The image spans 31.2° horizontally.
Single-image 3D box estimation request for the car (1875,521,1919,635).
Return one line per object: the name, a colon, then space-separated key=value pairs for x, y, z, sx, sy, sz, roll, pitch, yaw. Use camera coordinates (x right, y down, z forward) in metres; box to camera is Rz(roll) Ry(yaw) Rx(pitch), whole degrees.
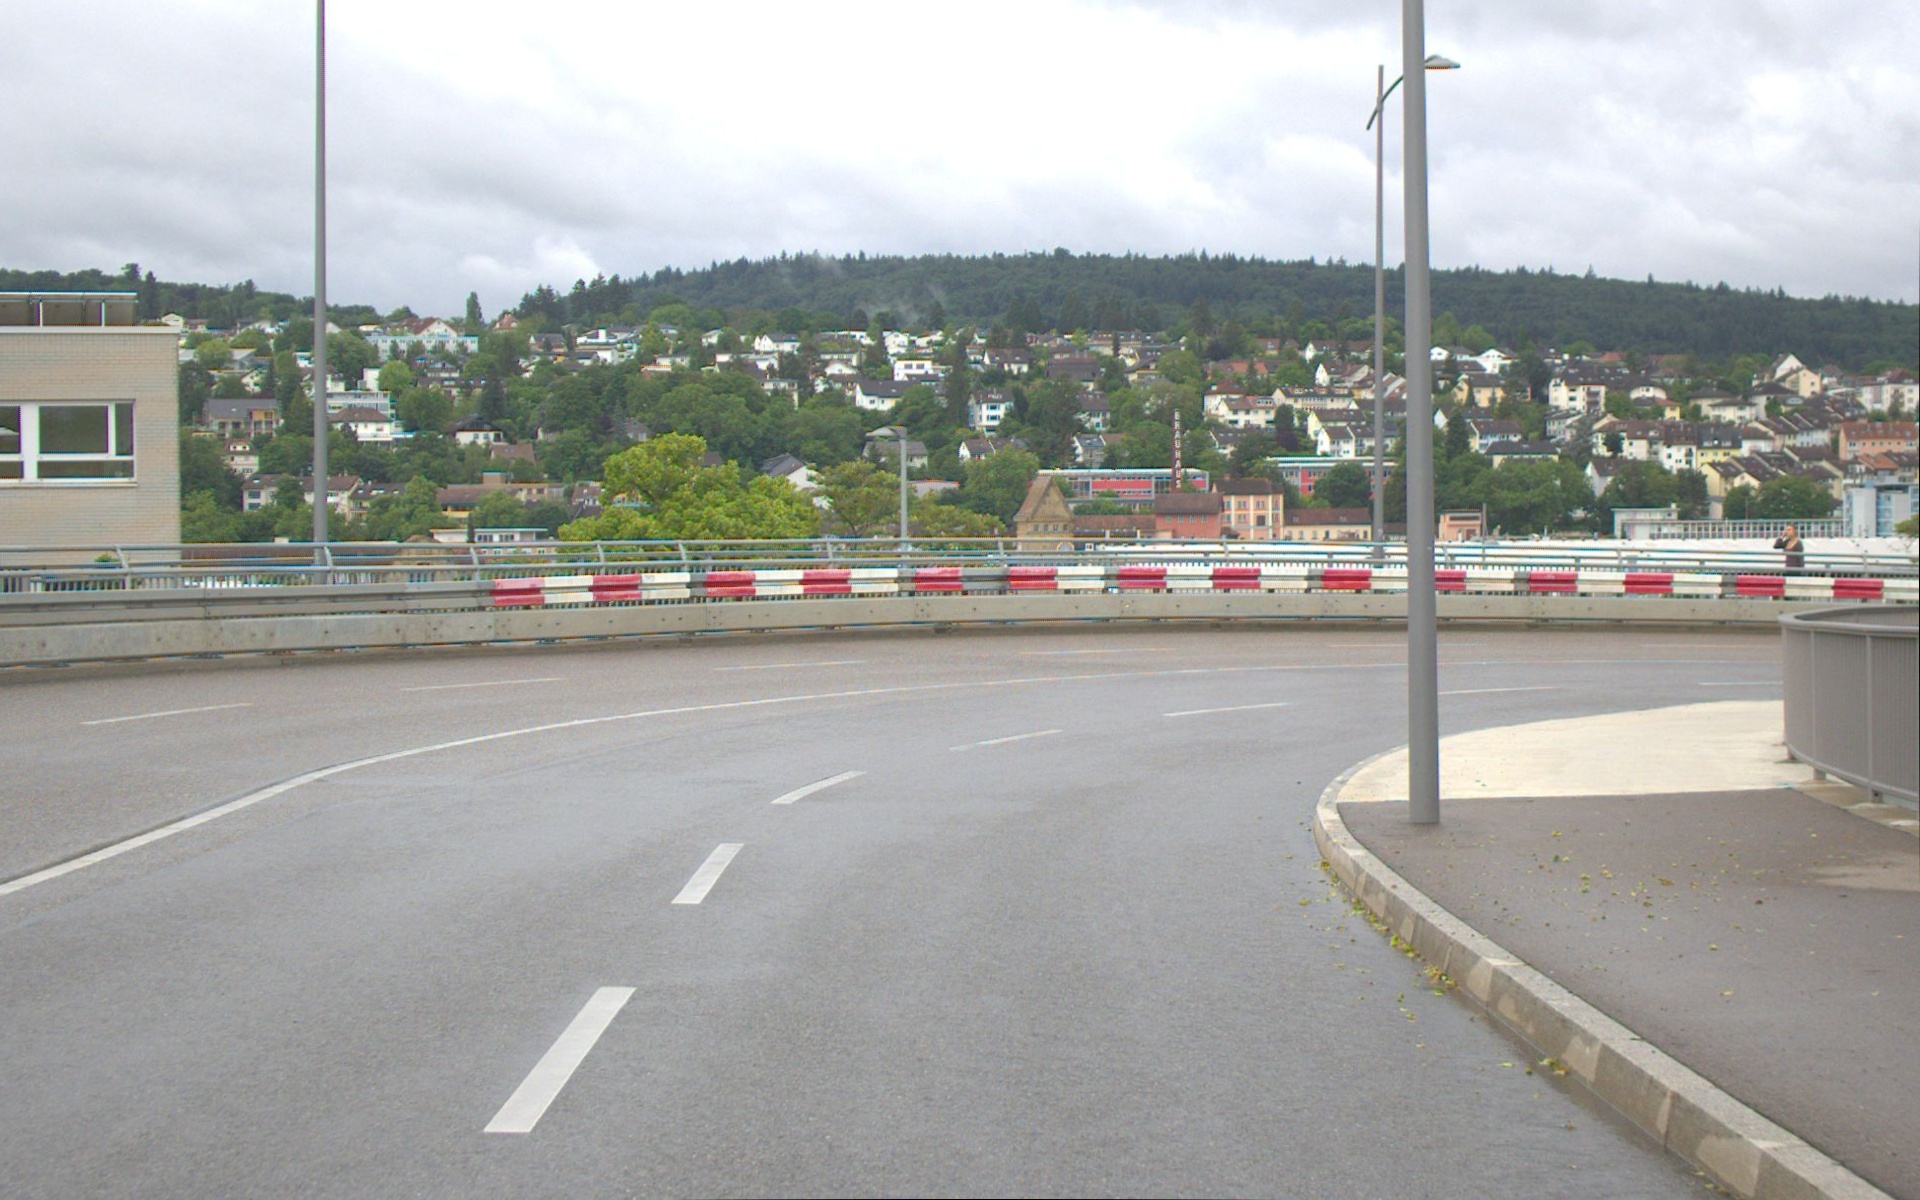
car: x=13.590 y=-0.267 z=43.557 sx=3.713 sy=1.414 sz=1.712 roll=0 pitch=2 yaw=-30
